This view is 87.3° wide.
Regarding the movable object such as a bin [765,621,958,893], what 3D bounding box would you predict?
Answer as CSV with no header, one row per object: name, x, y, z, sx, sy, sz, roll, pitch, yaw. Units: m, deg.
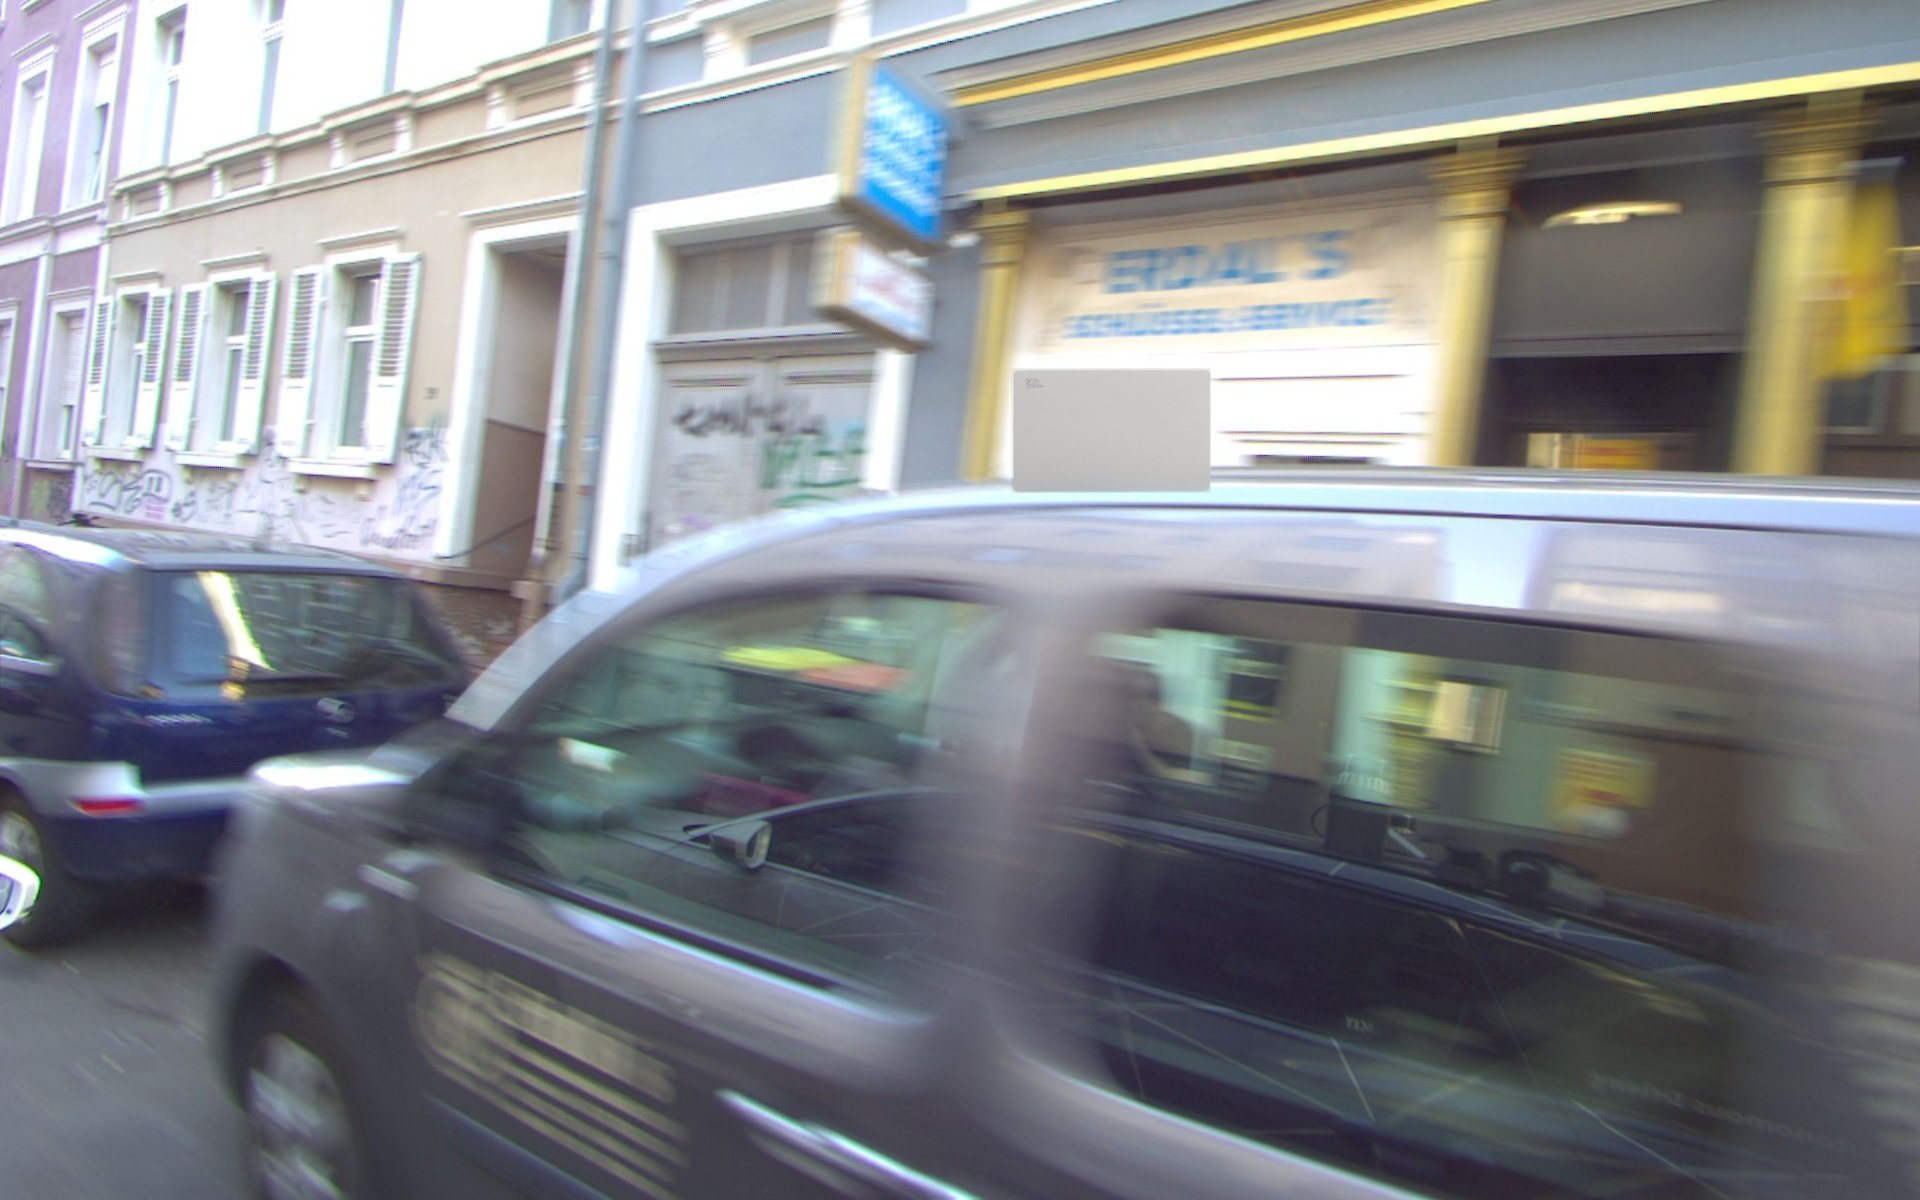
movable object such as a bin,-0.503,0.776,5.300,0.570,1.259,0.763,6,1,29

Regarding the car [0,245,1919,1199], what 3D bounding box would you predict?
car,0.125,0.656,2.050,4.244,1.814,1.902,6,-2,32

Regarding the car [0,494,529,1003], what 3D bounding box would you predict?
car,-3.890,0.374,4.618,3.550,1.528,1.556,6,-1,29

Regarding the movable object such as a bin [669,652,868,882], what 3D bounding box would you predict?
movable object such as a bin,-1.060,0.897,5.645,0.673,1.104,0.726,7,-1,29

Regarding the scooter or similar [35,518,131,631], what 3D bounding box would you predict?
scooter or similar,-10.190,-0.304,11.679,1.346,1.199,0.450,6,4,32

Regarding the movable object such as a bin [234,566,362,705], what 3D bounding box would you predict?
movable object such as a bin,-5.674,0.299,8.641,0.550,1.102,0.694,7,2,31

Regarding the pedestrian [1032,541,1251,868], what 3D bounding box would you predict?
pedestrian,0.825,0.442,4.510,0.618,1.292,0.676,6,-1,34

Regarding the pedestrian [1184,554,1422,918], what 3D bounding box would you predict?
pedestrian,1.415,0.518,4.112,0.643,1.292,0.676,6,-1,34

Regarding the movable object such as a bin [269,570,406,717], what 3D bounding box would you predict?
movable object such as a bin,-5.111,0.346,8.272,0.622,1.102,0.694,7,2,31

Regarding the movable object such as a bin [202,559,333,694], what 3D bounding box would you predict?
movable object such as a bin,-6.171,0.234,8.980,0.550,1.102,0.752,7,2,31
